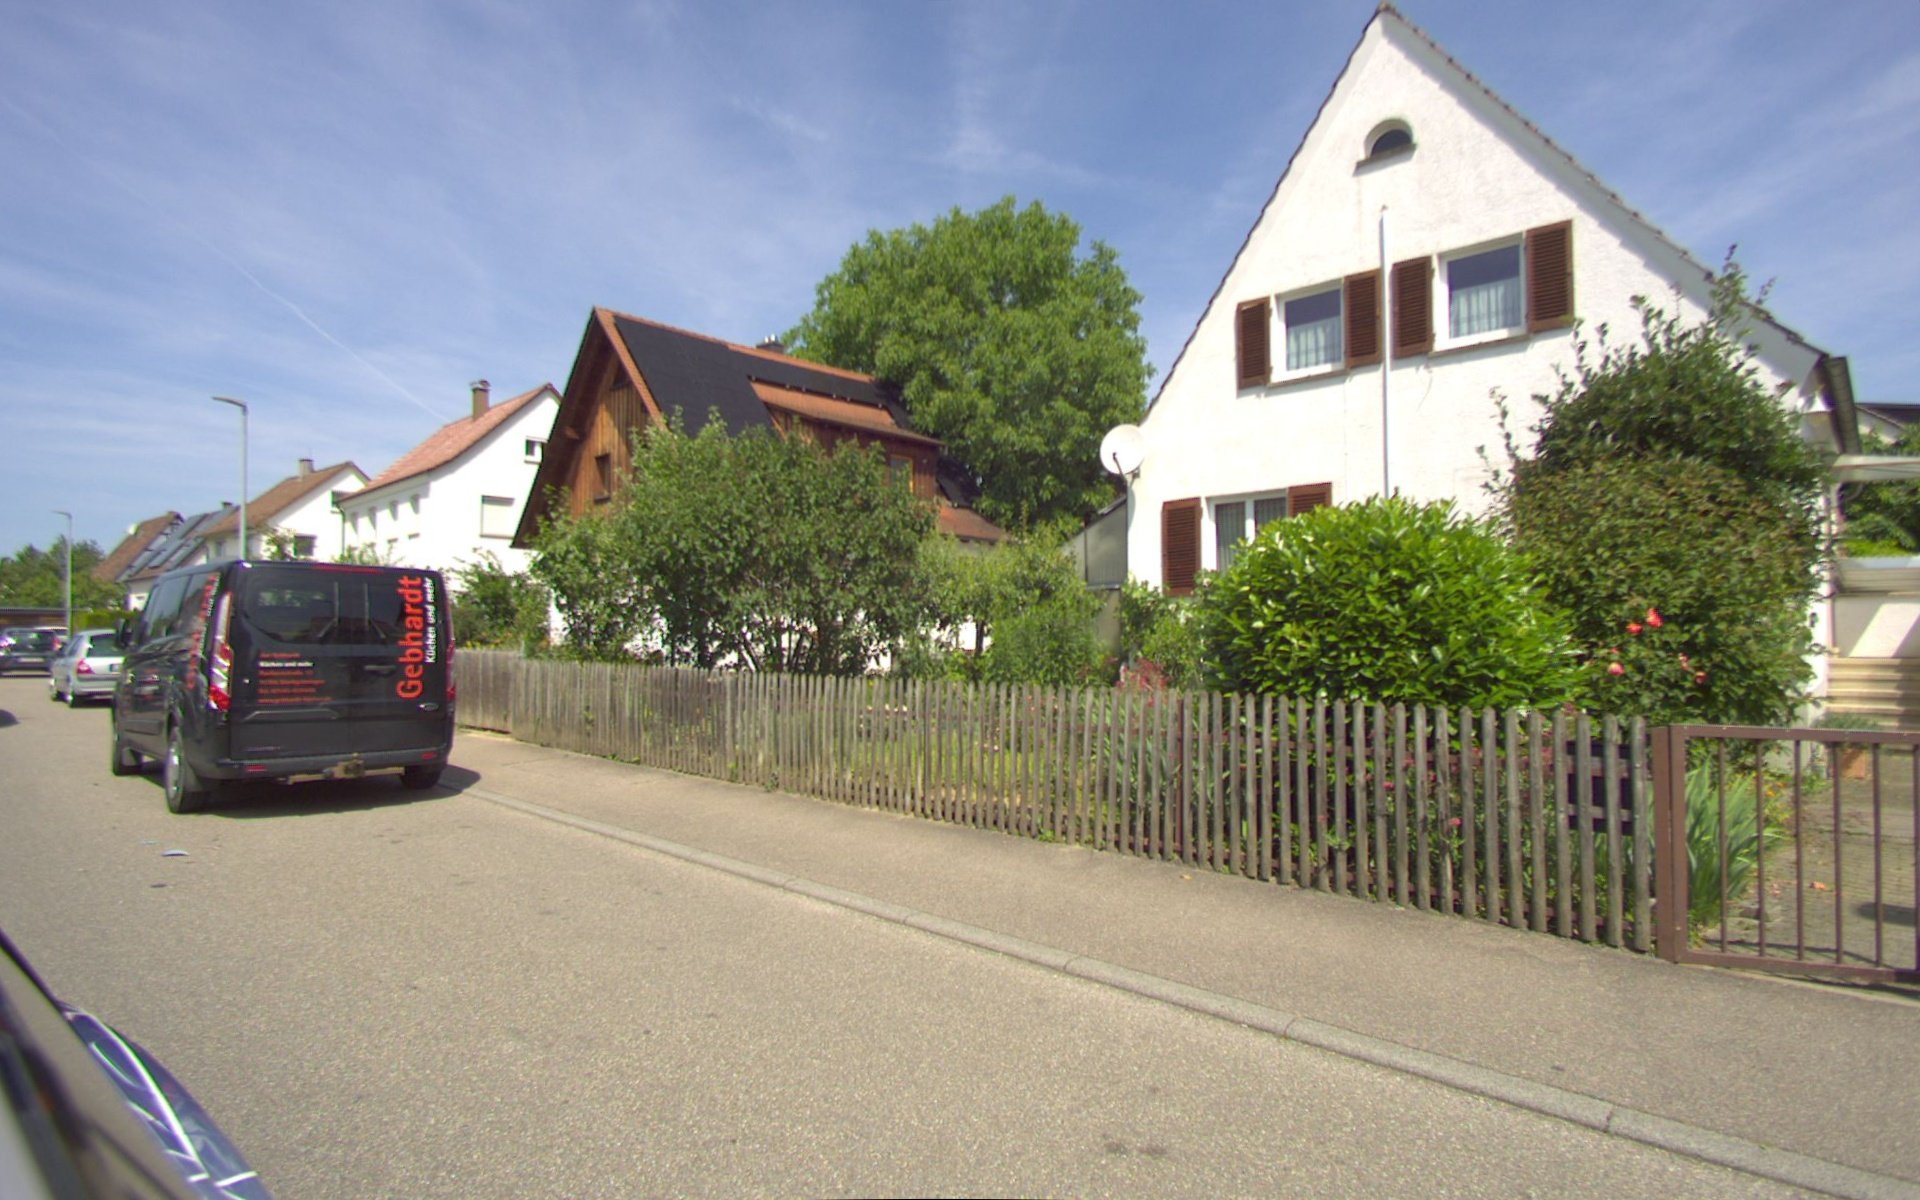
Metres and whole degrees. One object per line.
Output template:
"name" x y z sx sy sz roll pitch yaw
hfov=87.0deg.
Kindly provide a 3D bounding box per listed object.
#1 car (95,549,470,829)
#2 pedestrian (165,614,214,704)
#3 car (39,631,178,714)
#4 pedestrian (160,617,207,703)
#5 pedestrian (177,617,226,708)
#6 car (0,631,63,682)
"car" -6.484 0.681 9.440 4.697 1.966 1.946 -2 -2 44
"pedestrian" -14.980 1.136 19.677 0.590 1.694 0.631 -2 0 43
"car" -16.470 1.337 19.538 3.264 1.453 1.565 -2 -3 42
"pedestrian" -15.441 1.185 20.121 0.590 1.655 0.631 -2 0 43
"pedestrian" -14.342 1.161 19.138 0.600 1.655 0.631 -2 0 43
"car" -28.433 1.670 30.710 1.579 1.469 3.662 2 -3 -45
